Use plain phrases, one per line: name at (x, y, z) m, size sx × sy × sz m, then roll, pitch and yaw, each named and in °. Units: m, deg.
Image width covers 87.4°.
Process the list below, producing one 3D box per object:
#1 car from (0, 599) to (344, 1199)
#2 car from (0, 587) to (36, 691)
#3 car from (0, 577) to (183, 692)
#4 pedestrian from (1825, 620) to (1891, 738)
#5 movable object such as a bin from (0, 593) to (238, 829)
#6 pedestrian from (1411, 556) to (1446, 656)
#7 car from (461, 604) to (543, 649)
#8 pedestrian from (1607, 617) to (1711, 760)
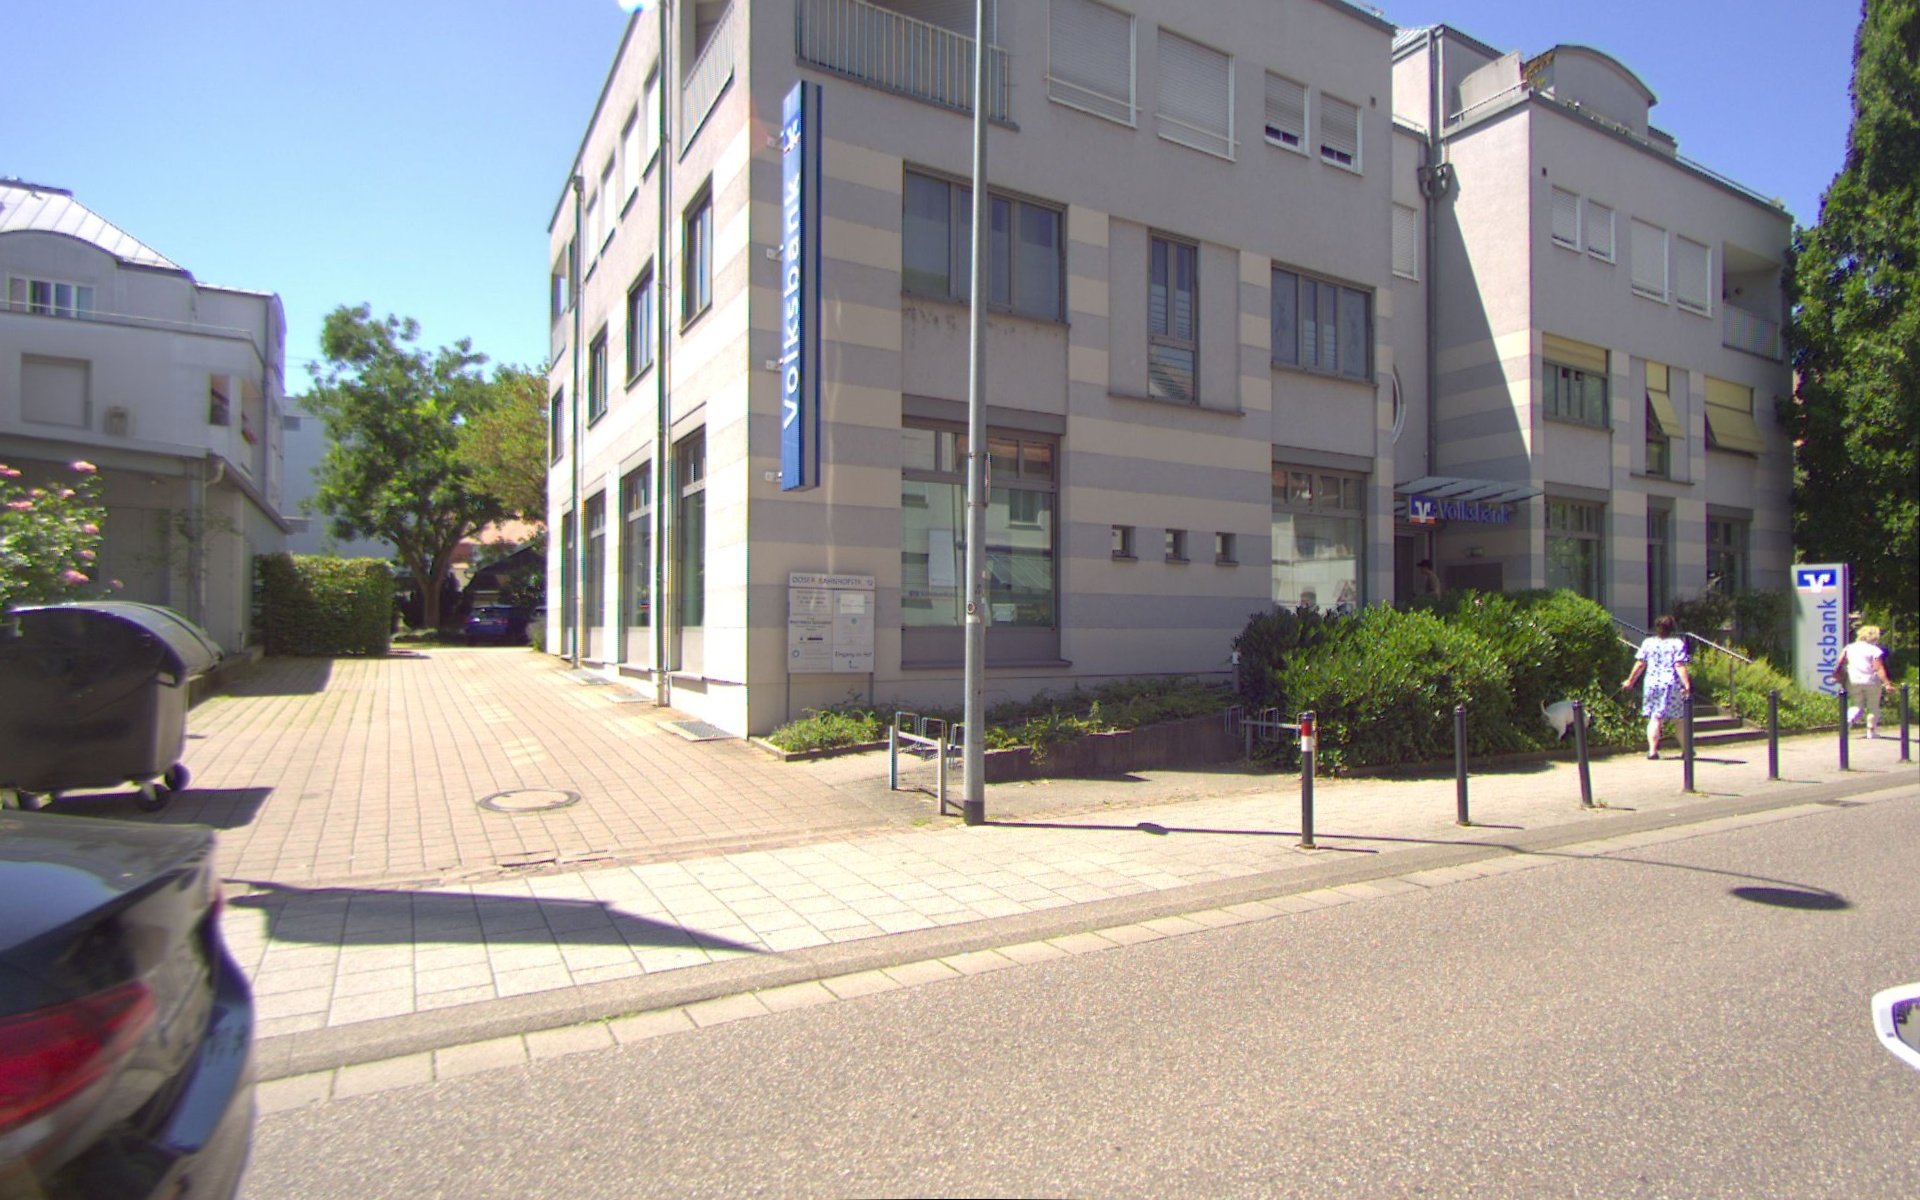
car at (-3.087, 0.741, 0.901) m, size 4.213 × 1.530 × 1.821 m, roll 2°, pitch -4°, yaw -30°
car at (-15.527, 0.580, 15.012) m, size 1.774 × 1.600 × 3.846 m, roll 2°, pitch -2°, yaw -32°
car at (-13.780, 0.536, 15.991) m, size 1.774 × 1.600 × 3.847 m, roll 1°, pitch -2°, yaw -31°
pedestrian at (13.336, 1.149, 14.916) m, size 0.700 × 1.707 × 0.534 m, roll 1°, pitch -1°, yaw -30°
movable object such as a bin at (-6.218, 0.738, 7.403) m, size 1.279 × 1.508 × 1.380 m, roll 1°, pitch 1°, yaw -30°
pedestrian at (8.429, 0.115, 18.088) m, size 0.570 × 1.762 × 0.611 m, roll 0°, pitch -1°, yaw 25°
car at (-18.310, 1.071, 40.331) m, size 1.821 × 1.684 × 3.931 m, roll 1°, pitch -2°, yaw -6°
pedestrian at (8.524, 1.045, 12.265) m, size 0.838 × 1.666 × 0.745 m, roll 1°, pitch -2°, yaw -30°
